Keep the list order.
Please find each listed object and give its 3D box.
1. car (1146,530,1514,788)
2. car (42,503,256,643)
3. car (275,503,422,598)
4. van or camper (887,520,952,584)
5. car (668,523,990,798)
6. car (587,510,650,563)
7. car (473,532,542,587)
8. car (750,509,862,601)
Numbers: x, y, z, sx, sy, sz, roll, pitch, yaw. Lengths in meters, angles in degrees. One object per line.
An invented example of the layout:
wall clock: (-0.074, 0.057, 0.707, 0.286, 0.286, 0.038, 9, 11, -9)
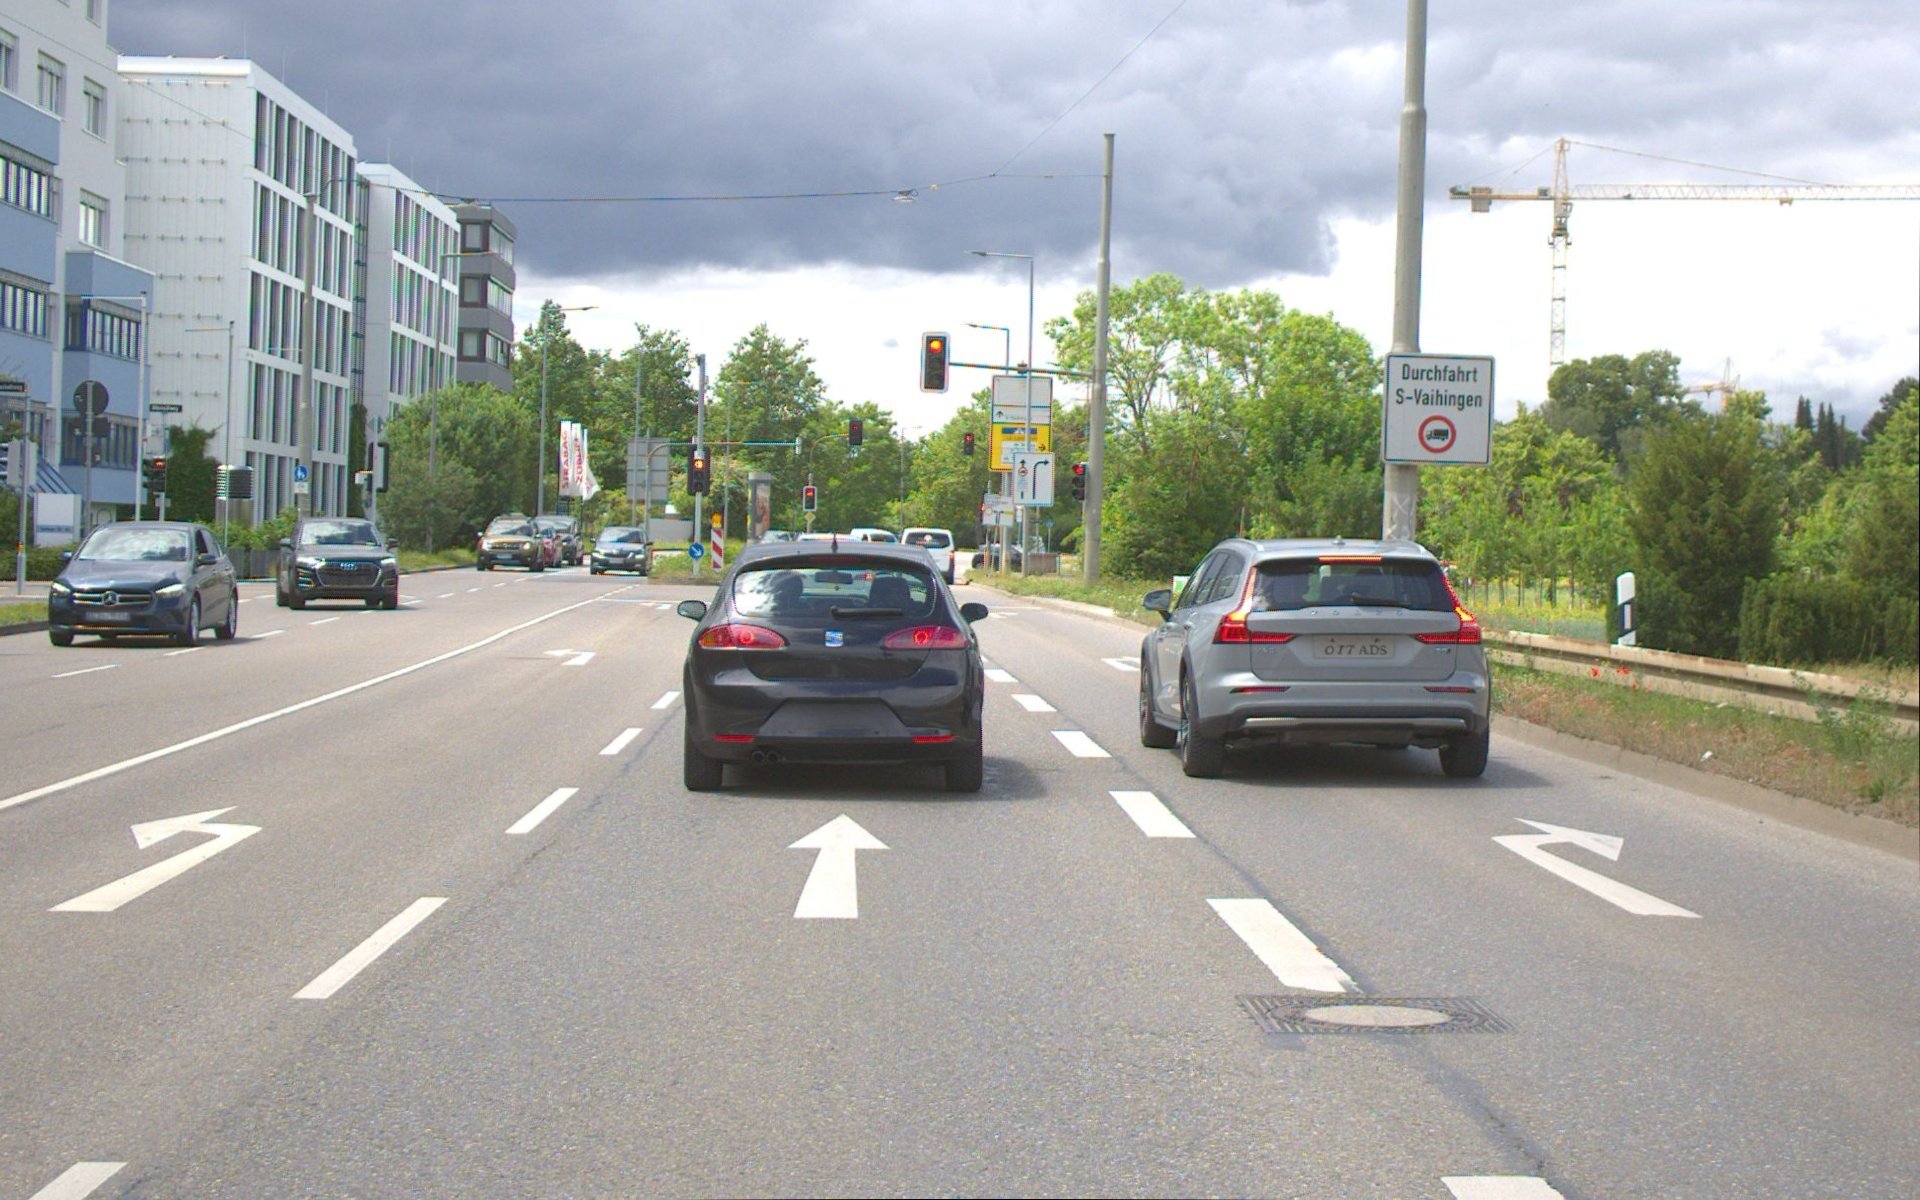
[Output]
car: (2.295, 0.324, 22.406, 1.958, 1.520, 4.340, 0, 1, 1)
car: (-10.328, -0.352, 44.082, 1.796, 1.579, 4.314, 4, 0, -3)
car: (-10.941, -0.882, 61.776, 1.867, 1.609, 4.572, 1, 1, -1)
van or camper: (-1.393, -1.610, 116.600, 1.899, 1.919, 4.000, 0, -3, -5)
car: (-0.707, 0.311, 20.980, 1.748, 1.478, 4.000, 1, 1, 0)
car: (-10.308, -1.938, 103.979, 1.668, 1.519, 4.009, -1, 2, -3)
car: (-13.787, -1.246, 104.872, 1.751, 1.625, 4.001, 0, 1, -3)
car: (-2.920, -0.872, 64.560, 1.983, 1.584, 4.227, 2, 2, -4)
